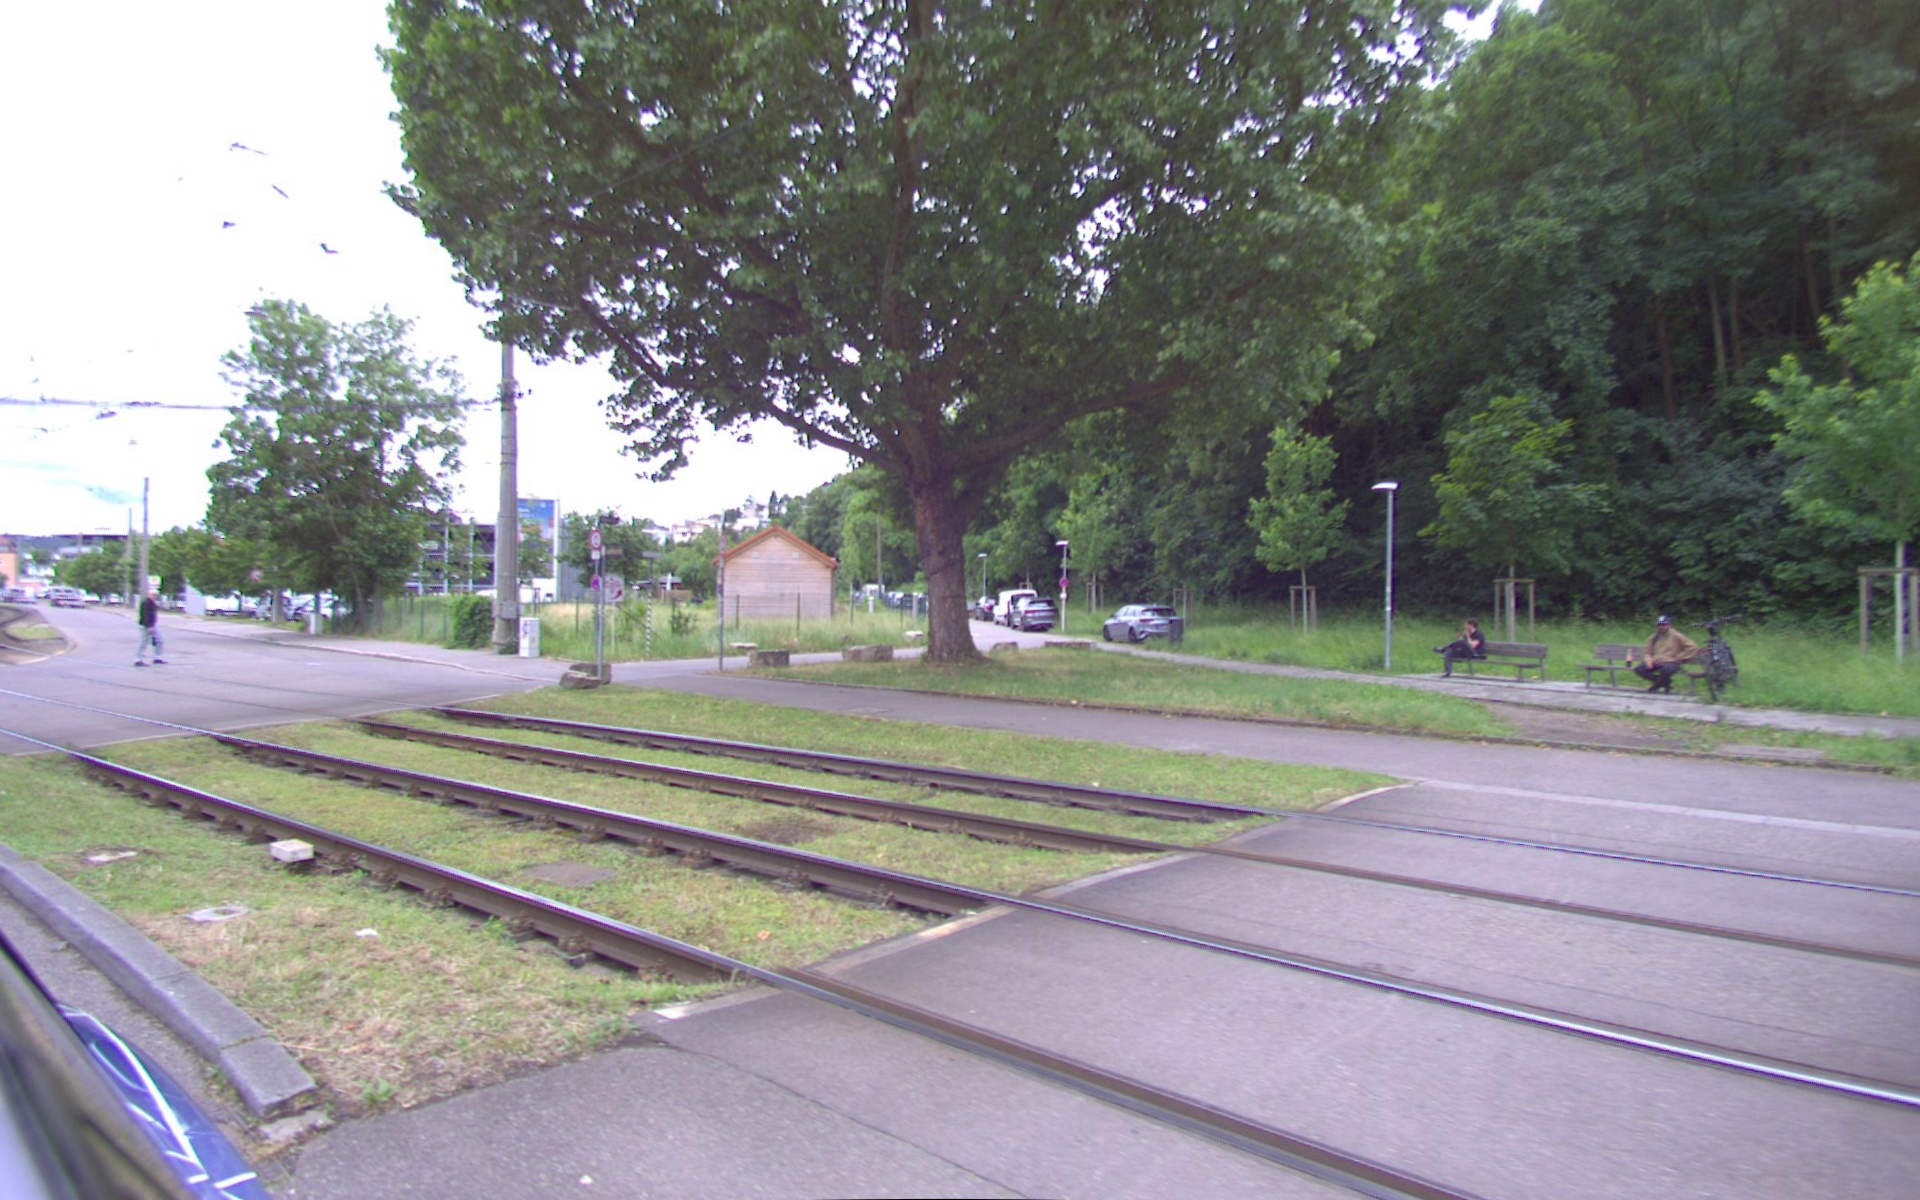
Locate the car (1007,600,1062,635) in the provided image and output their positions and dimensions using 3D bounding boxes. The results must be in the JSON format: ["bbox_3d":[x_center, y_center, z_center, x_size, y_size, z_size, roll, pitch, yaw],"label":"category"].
[{"bbox_3d":[3.503,0.798,48.194,1.673,1.434,3.512,-2,2,-11],"label":"car"}]

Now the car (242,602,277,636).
[{"bbox_3d":[-67.399,1.763,97.327,2.285,3.033,6.171,-3,2,-38],"label":"car"}]

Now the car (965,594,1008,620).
[{"bbox_3d":[1.503,0.375,59.746,1.729,1.387,3.690,-2,2,-11],"label":"car"}]

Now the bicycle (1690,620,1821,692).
[{"bbox_3d":[11.581,0.798,14.736,1.717,0.892,0.624,-3,1,-18],"label":"bicycle"}]

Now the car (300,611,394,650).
[{"bbox_3d":[-41.977,2.060,69.381,5.191,2.284,2.003,-4,2,-41],"label":"car"}]

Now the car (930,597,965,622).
[{"bbox_3d":[-0.943,0.686,73.306,1.728,1.625,3.691,-2,2,-14],"label":"car"}]

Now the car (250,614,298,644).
[{"bbox_3d":[-54.355,2.253,80.170,4.777,2.131,2.112,-1,2,44],"label":"car"}]

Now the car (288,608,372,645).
[{"bbox_3d":[-44.738,1.867,71.912,4.703,2.284,1.983,-4,2,-41],"label":"car"}]

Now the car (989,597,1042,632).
[{"bbox_3d":[2.876,0.732,53.314,1.879,1.625,3.690,-2,2,-11],"label":"car"}]

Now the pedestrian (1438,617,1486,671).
[{"bbox_3d":[9.784,0.853,19.744,0.523,0.997,0.622,-3,1,-22],"label":"pedestrian"}]

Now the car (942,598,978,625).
[{"bbox_3d":[-0.061,0.768,69.098,1.729,1.625,3.690,-2,2,-11],"label":"car"}]

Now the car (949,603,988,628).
[{"bbox_3d":[0.526,0.952,64.932,1.729,1.387,3.690,-2,2,-11],"label":"car"}]

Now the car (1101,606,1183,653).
[{"bbox_3d":[6.490,1.008,36.400,1.673,1.434,3.512,-2,2,-11],"label":"car"}]

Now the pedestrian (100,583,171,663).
[{"bbox_3d":[-19.160,0.519,23.530,0.813,1.773,1.106,-1,2,41],"label":"pedestrian"}]

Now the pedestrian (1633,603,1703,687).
[{"bbox_3d":[11.058,0.682,15.816,0.570,1.244,0.675,-3,1,-24],"label":"pedestrian"}]
